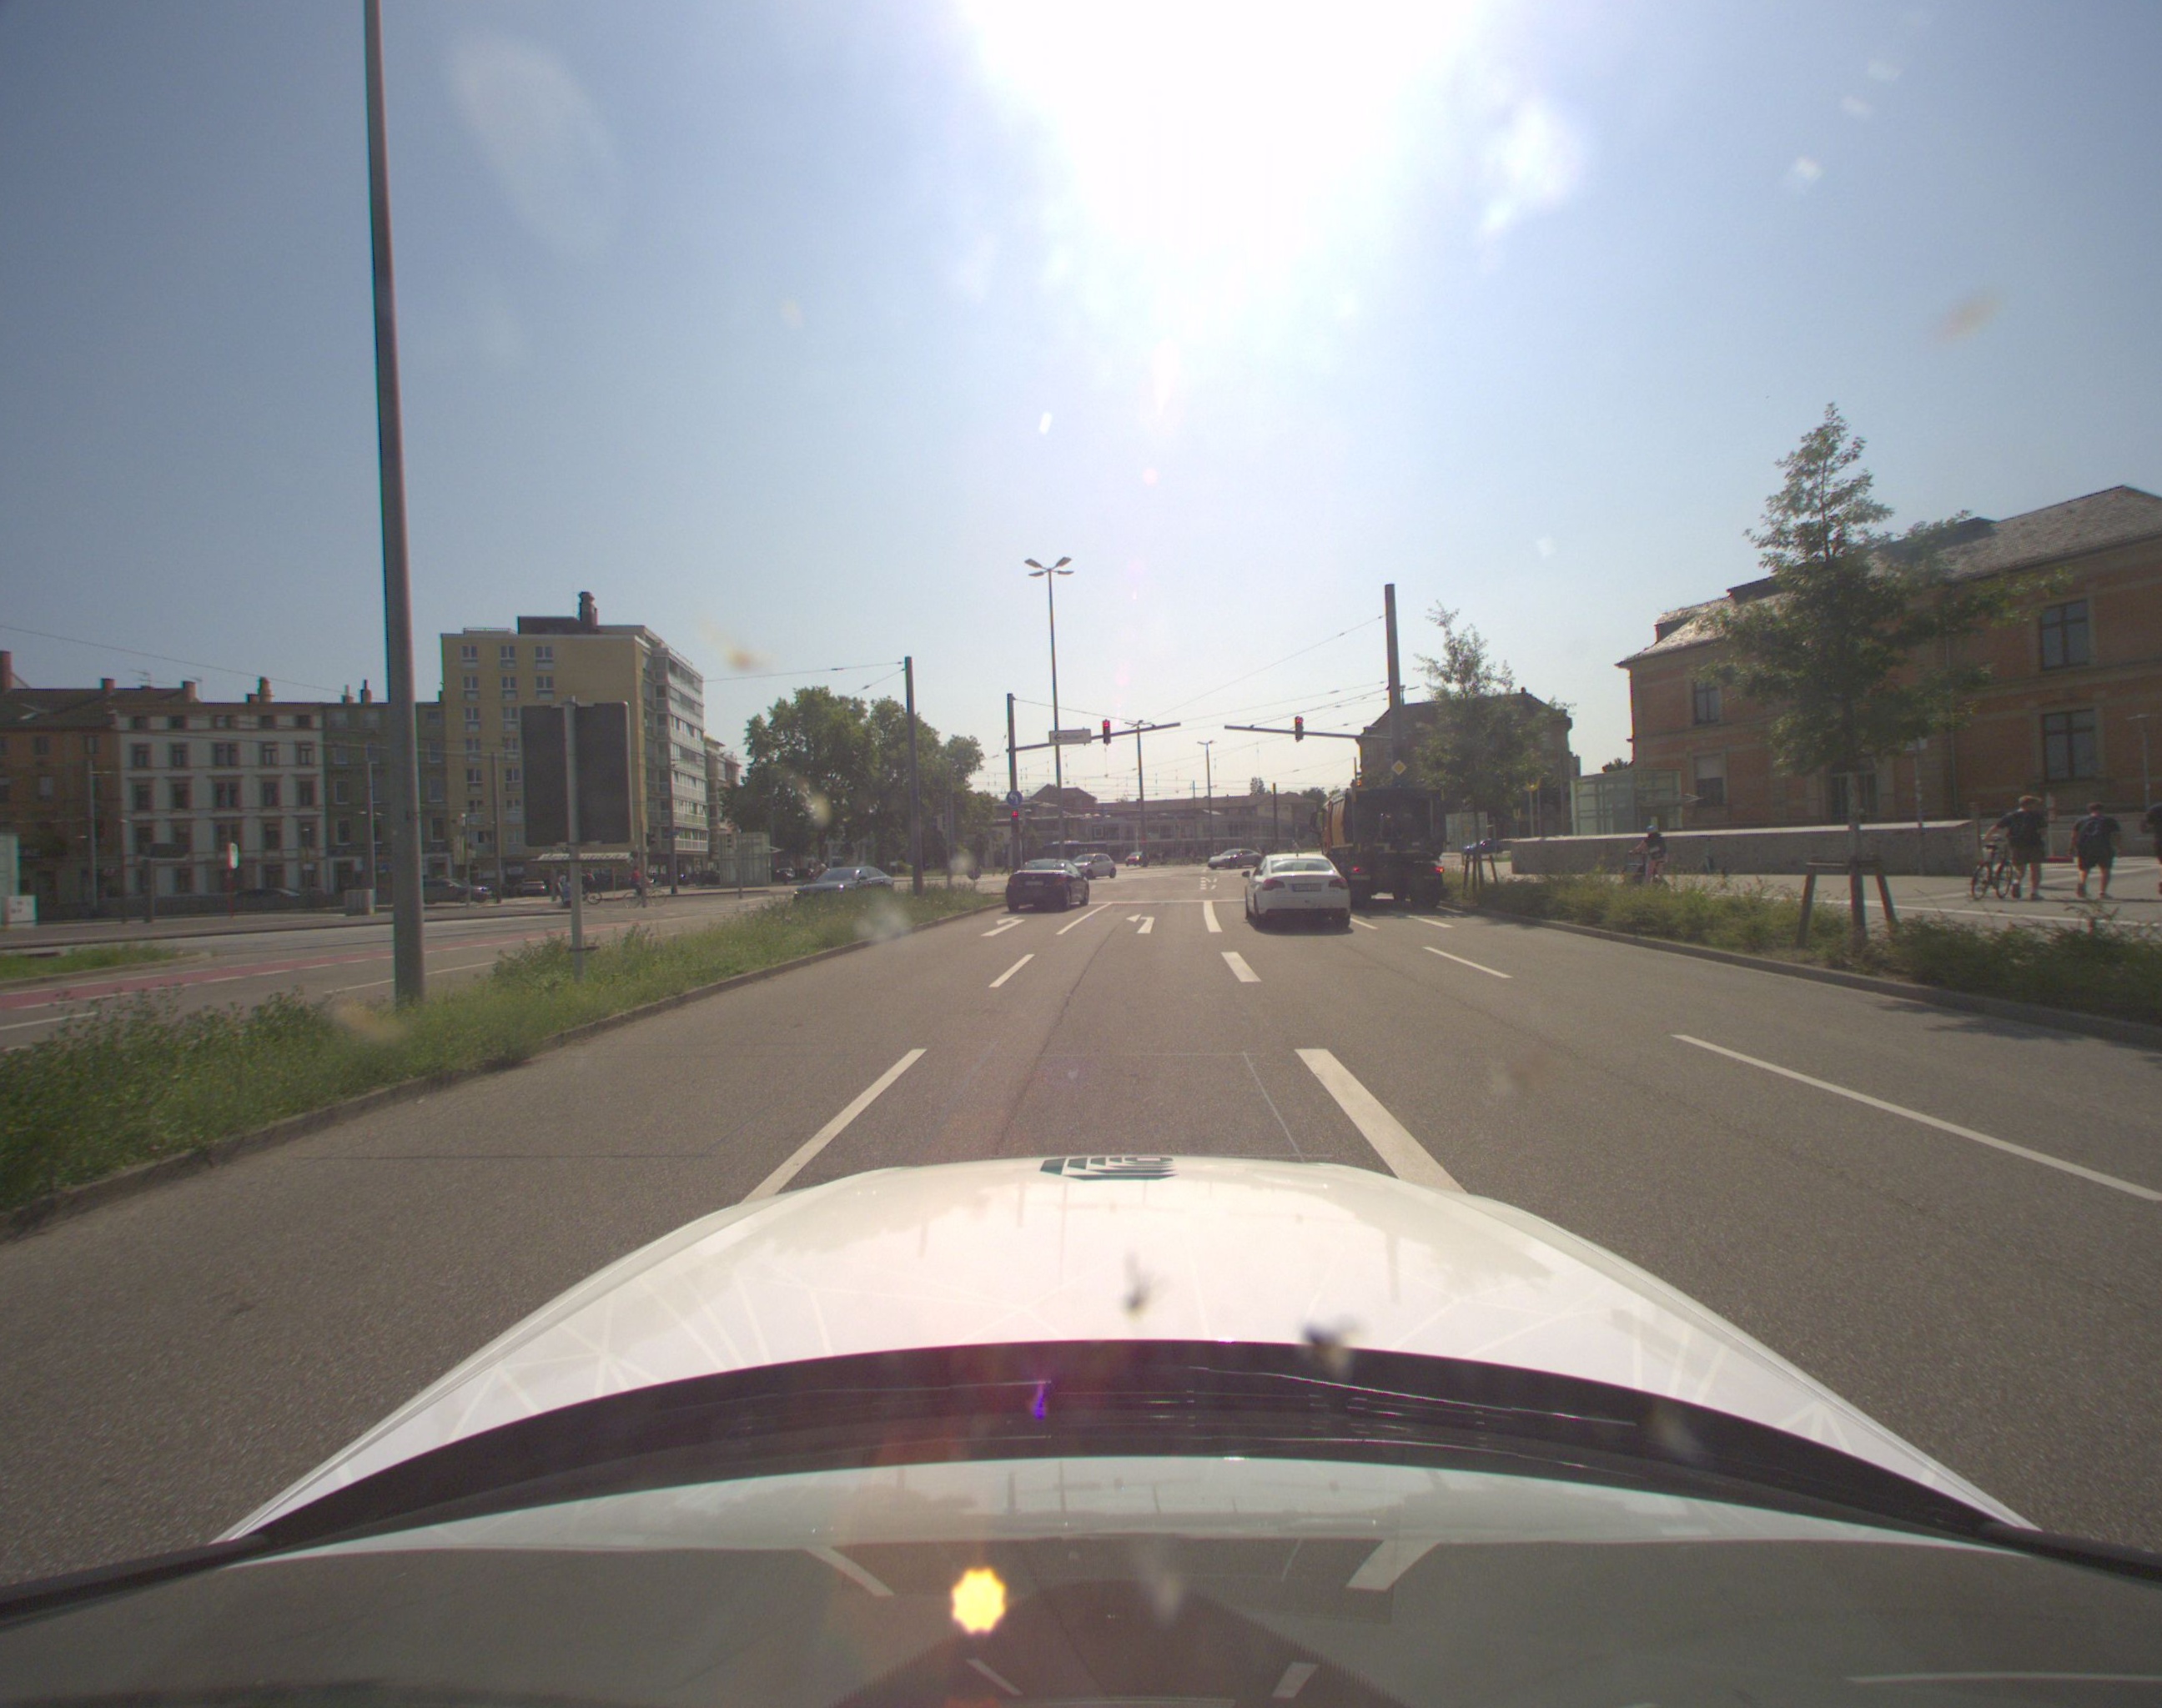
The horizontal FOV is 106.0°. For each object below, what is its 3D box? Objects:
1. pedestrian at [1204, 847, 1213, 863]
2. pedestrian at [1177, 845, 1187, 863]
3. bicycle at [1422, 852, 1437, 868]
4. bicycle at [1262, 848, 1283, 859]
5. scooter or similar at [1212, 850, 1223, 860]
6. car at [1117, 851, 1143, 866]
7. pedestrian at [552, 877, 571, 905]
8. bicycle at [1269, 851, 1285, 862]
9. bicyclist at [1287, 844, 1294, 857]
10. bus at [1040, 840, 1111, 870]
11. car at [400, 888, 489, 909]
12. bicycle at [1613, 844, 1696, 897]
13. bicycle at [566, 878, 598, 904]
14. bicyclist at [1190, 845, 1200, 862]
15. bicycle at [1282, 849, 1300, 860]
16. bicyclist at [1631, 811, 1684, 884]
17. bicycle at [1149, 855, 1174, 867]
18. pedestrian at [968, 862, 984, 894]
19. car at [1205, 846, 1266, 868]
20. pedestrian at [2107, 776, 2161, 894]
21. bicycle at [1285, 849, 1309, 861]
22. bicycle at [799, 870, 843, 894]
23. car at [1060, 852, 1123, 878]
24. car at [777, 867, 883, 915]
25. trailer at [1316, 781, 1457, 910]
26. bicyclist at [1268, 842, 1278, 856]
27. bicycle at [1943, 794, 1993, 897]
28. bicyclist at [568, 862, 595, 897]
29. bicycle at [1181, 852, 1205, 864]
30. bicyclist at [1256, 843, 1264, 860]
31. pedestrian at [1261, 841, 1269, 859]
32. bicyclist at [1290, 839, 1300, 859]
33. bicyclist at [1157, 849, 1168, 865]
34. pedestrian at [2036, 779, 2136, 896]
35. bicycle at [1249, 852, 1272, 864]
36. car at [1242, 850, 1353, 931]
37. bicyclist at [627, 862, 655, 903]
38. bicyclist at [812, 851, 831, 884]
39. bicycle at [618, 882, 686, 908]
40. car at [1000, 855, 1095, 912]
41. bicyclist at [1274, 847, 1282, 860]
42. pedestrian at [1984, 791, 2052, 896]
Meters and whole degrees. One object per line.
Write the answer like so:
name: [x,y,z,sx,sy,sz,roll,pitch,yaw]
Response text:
pedestrian: [12.817,0.064,81.708,0.635,1.561,0.745,-2,0,-8]
pedestrian: [10.075,0.029,81.063,0.776,1.752,0.813,-2,0,22]
bicycle: [18.831,0.329,44.039,0.668,0.777,2.140,-3,0,24]
bicycle: [19.107,-0.075,81.321,1.983,1.018,0.710,-2,0,-18]
scooter or similar: [13.708,0.112,81.842,0.835,0.974,0.790,-2,0,-9]
car: [5.367,0.473,89.023,1.713,1.420,3.861,-2,0,22]
pedestrian: [-31.513,2.242,49.433,0.648,1.633,0.812,-3,-1,-10]
bicycle: [19.294,0.219,80.007,1.601,0.985,0.502,-2,0,-30]
bicyclist: [20.033,-0.319,77.847,0.499,1.188,0.510,-2,0,24]
bus: [-0.366,-0.003,89.120,3.026,2.931,11.920,-2,0,24]
car: [-38.960,2.714,49.922,3.890,0.987,1.707,-3,0,-16]
bicycle: [12.307,0.332,17.544,0.553,1.060,2.008,-2,0,7]
bicycle: [-24.052,1.757,39.264,0.977,1.178,2.808,-2,0,-25]
bicyclist: [11.190,-0.048,79.899,0.761,1.634,0.761,-2,0,-8]
bicycle: [20.039,0.079,77.846,1.576,0.985,0.510,-2,0,23]
bicyclist: [12.255,-0.145,17.325,0.546,1.496,0.805,-2,0,7]
bicycle: [7.794,0.682,78.970,2.198,1.087,0.760,-2,0,-12]
pedestrian: [-4.350,0.987,33.665,0.596,1.268,0.503,-3,2,-11]
car: [11.416,0.237,60.191,4.611,1.400,1.923,-2,0,-41]
pedestrian: [18.370,-0.334,13.875,0.771,1.973,0.757,-3,0,22]
bicycle: [19.736,0.089,74.344,1.974,1.018,0.713,-2,0,-4]
bicycle: [-13.441,1.446,42.080,0.690,1.137,2.056,-3,0,42]
car: [0.690,0.640,49.324,1.753,1.425,4.093,-3,0,36]
car: [-8.569,1.221,28.299,1.761,1.411,4.774,-2,0,5]
trailer: [8.111,-0.201,22.388,2.448,3.007,6.342,-1,0,10]
bicyclist: [19.139,-0.512,81.337,0.670,1.350,0.707,-2,0,-18]
bicycle: [16.652,-0.171,15.301,0.451,1.860,1.371,-3,0,43]
bicyclist: [-24.102,1.228,39.306,0.977,1.654,0.657,-2,0,-26]
bicycle: [11.004,0.382,79.864,2.196,1.087,0.761,-2,0,-9]
bicyclist: [16.154,-0.197,73.496,0.660,1.509,0.716,-2,0,9]
pedestrian: [18.767,-0.387,82.971,0.620,1.752,0.628,-2,0,-1]
bicyclist: [19.524,-0.482,74.332,0.703,1.764,0.714,-2,0,-4]
bicyclist: [7.876,0.316,78.993,0.798,1.541,0.760,-2,0,-12]
pedestrian: [17.640,-0.279,14.317,0.771,1.973,0.757,-3,0,22]
bicycle: [16.184,0.327,73.497,1.966,1.018,0.716,-2,0,9]
car: [4.438,0.675,17.322,1.748,1.455,4.436,-2,0,8]
bicyclist: [-18.396,1.174,34.064,0.839,1.642,0.604,-2,0,-11]
bicyclist: [-13.423,0.683,42.140,0.684,1.650,0.623,-3,0,42]
bicycle: [-17.966,1.715,34.138,2.410,0.953,0.601,-3,-1,-11]
car: [-0.845,0.775,23.249,1.746,1.404,3.993,-2,0,11]
bicyclist: [19.357,-0.082,80.052,0.597,1.247,0.502,-2,0,-30]
pedestrian: [17.118,-0.179,14.894,0.653,1.860,0.798,-3,0,41]
